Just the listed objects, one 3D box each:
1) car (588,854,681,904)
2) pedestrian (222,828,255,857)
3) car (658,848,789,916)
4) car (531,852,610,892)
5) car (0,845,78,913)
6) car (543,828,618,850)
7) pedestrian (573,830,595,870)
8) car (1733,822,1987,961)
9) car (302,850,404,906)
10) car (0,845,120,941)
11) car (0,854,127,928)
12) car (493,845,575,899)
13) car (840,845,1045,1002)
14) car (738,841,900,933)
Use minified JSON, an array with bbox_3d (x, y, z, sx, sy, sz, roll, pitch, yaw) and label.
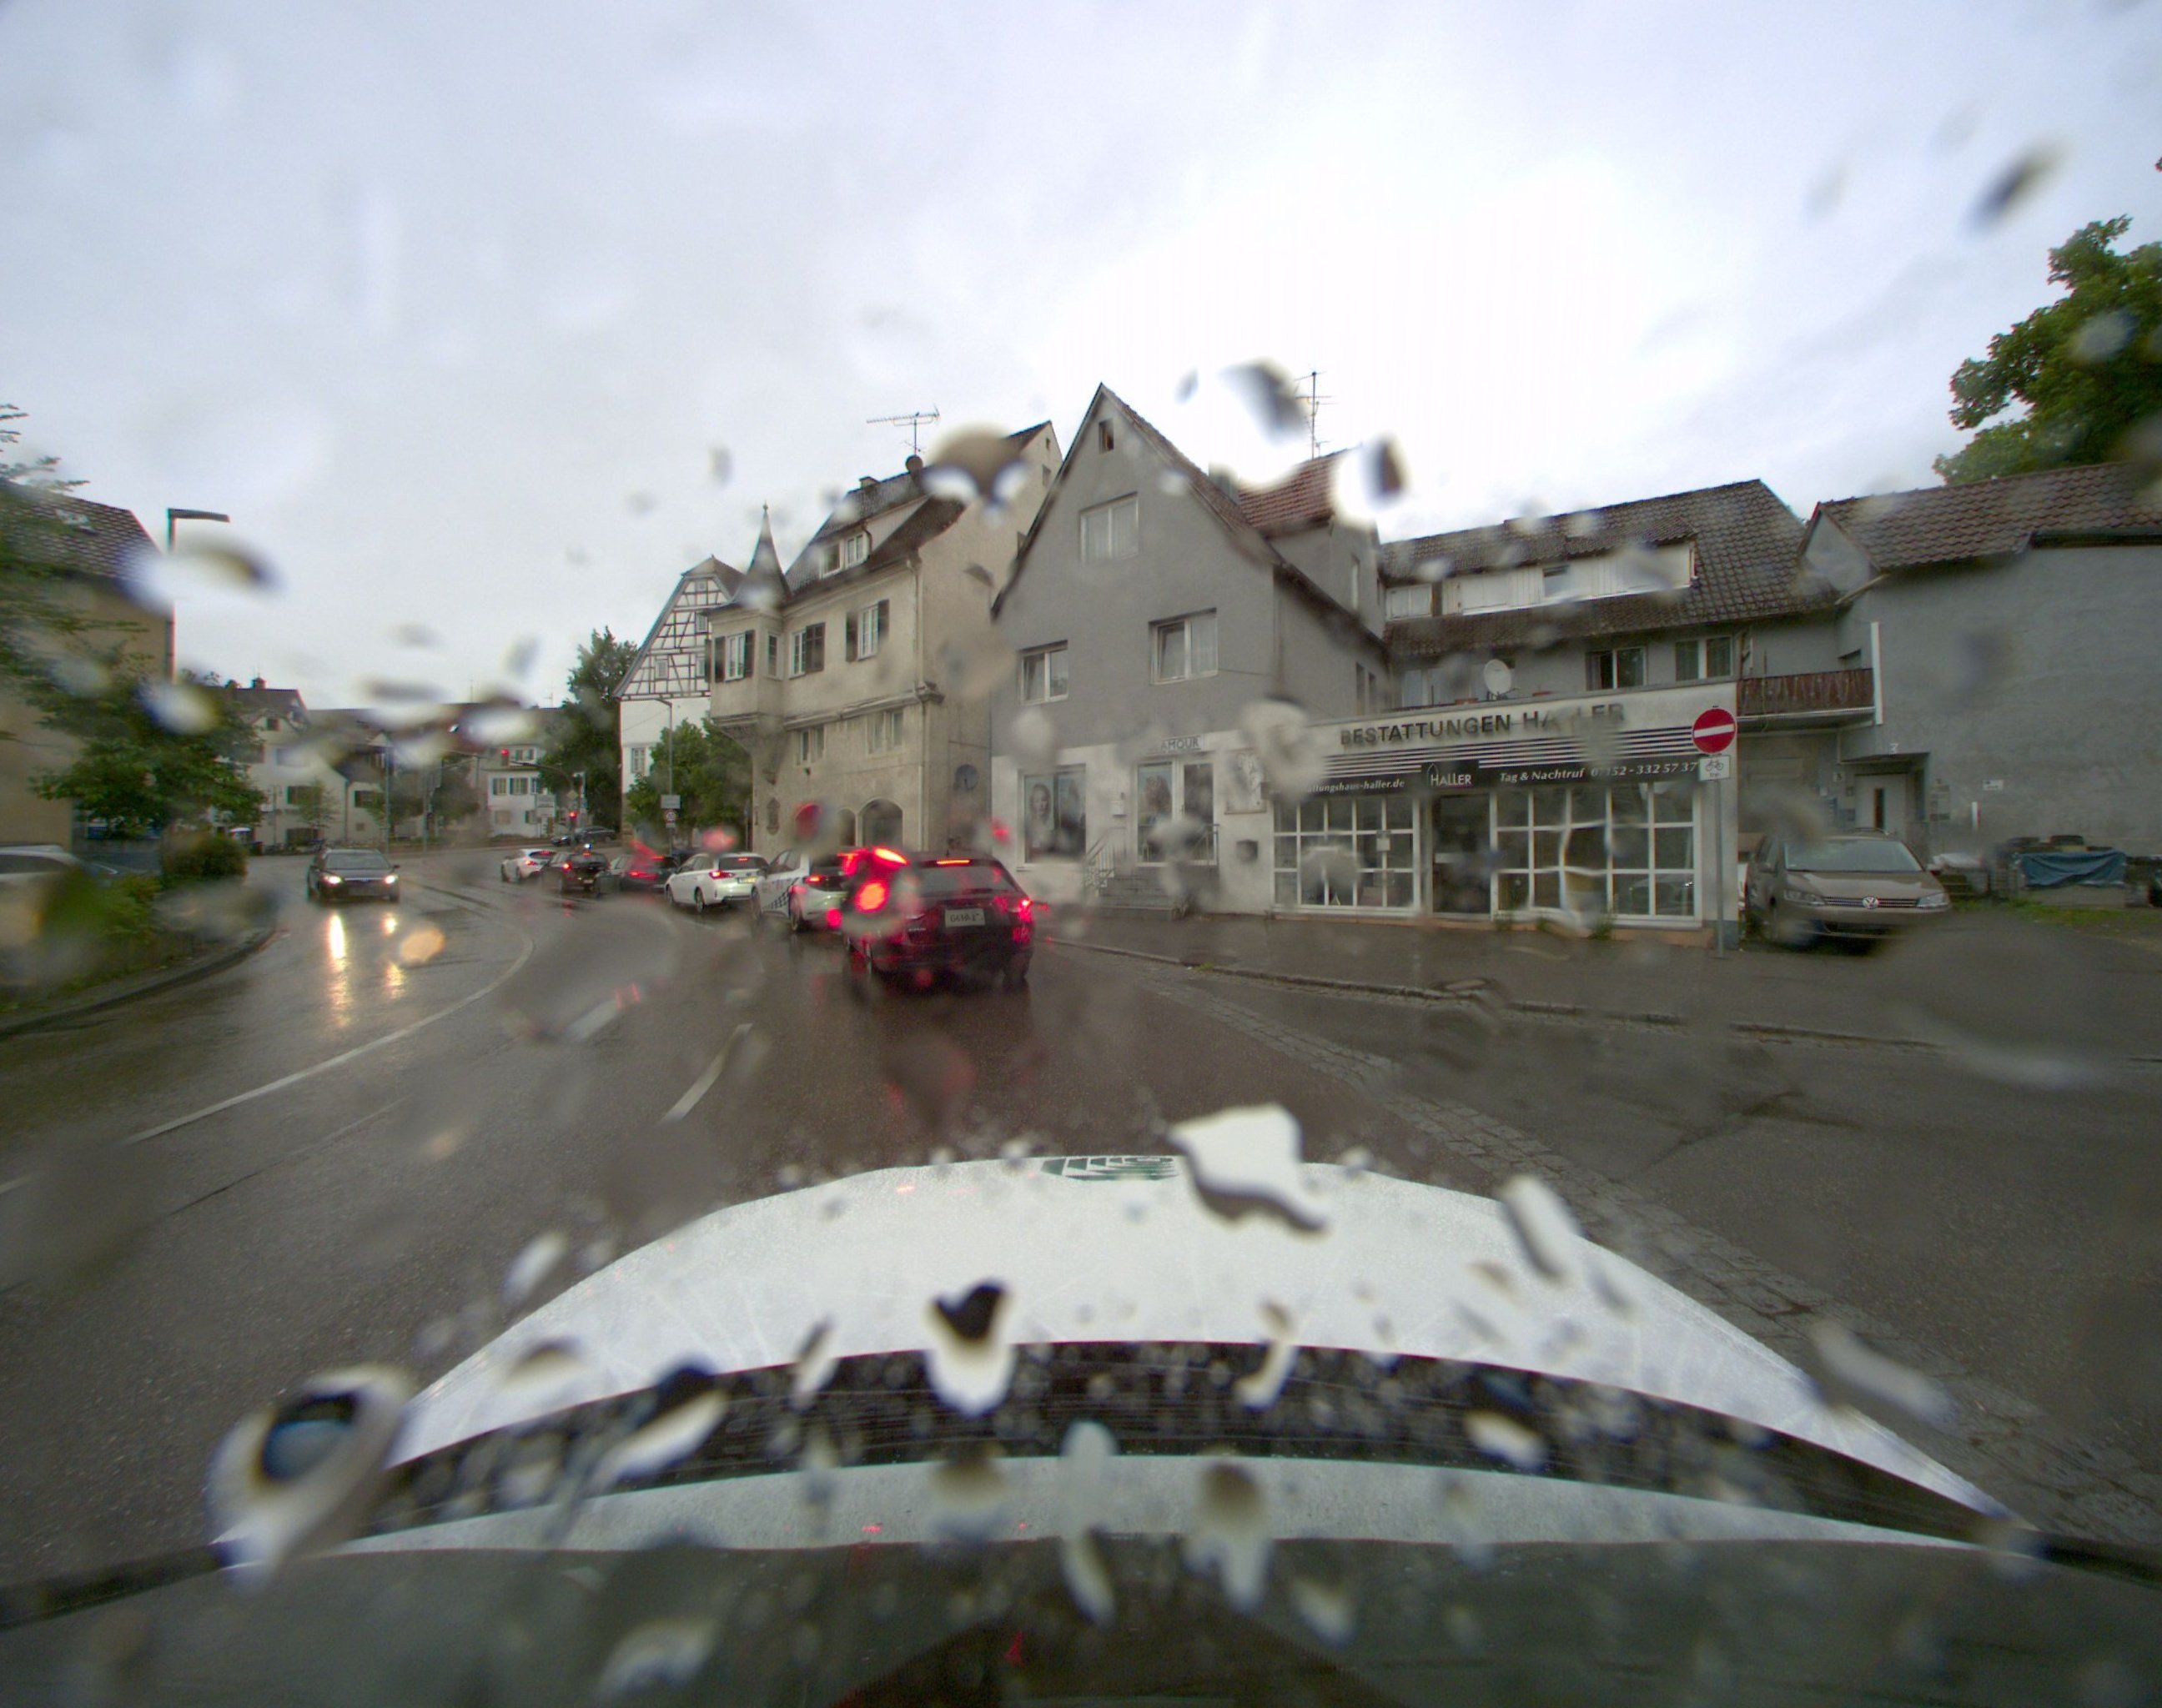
[{"bbox_3d":[-14.115,0.725,25.677,3.721,1.361,1.533,1,2,44],"label":"car"},{"bbox_3d":[-52.344,-0.703,50.590,1.136,1.742,1.010,-1,0,19],"label":"pedestrian"},{"bbox_3d":[-9.127,0.613,20.618,1.801,1.465,4.114,-2,2,-42],"label":"car"},{"bbox_3d":[-18.963,0.617,30.200,3.579,1.312,1.678,1,2,44],"label":"car"},{"bbox_3d":[-26.184,0.595,18.739,1.692,1.576,3.558,0,1,24],"label":"car"},{"bbox_3d":[-37.499,-1.117,61.154,1.632,1.389,4.555,7,3,23],"label":"car"},{"bbox_3d":[-29.003,-0.231,47.524,0.872,2.326,1.216,-1,0,-40],"label":"pedestrian"},{"bbox_3d":[11.734,0.397,12.673,1.905,1.727,4.698,-1,2,32],"label":"car"},{"bbox_3d":[-22.046,0.716,24.624,4.218,1.510,1.748,-2,1,41],"label":"car"},{"bbox_3d":[-20.117,0.702,14.465,1.692,1.685,3.558,0,1,24],"label":"car"},{"bbox_3d":[-22.380,0.753,16.532,1.692,1.455,3.558,0,1,24],"label":"car"},{"bbox_3d":[-23.481,0.712,34.914,3.911,2.090,1.992,1,2,43],"label":"car"},{"bbox_3d":[-1.934,0.648,10.163,1.738,1.450,4.212,-2,2,-20],"label":"car"},{"bbox_3d":[-5.310,0.567,16.145,1.803,1.517,4.195,-2,1,-36],"label":"car"}]
